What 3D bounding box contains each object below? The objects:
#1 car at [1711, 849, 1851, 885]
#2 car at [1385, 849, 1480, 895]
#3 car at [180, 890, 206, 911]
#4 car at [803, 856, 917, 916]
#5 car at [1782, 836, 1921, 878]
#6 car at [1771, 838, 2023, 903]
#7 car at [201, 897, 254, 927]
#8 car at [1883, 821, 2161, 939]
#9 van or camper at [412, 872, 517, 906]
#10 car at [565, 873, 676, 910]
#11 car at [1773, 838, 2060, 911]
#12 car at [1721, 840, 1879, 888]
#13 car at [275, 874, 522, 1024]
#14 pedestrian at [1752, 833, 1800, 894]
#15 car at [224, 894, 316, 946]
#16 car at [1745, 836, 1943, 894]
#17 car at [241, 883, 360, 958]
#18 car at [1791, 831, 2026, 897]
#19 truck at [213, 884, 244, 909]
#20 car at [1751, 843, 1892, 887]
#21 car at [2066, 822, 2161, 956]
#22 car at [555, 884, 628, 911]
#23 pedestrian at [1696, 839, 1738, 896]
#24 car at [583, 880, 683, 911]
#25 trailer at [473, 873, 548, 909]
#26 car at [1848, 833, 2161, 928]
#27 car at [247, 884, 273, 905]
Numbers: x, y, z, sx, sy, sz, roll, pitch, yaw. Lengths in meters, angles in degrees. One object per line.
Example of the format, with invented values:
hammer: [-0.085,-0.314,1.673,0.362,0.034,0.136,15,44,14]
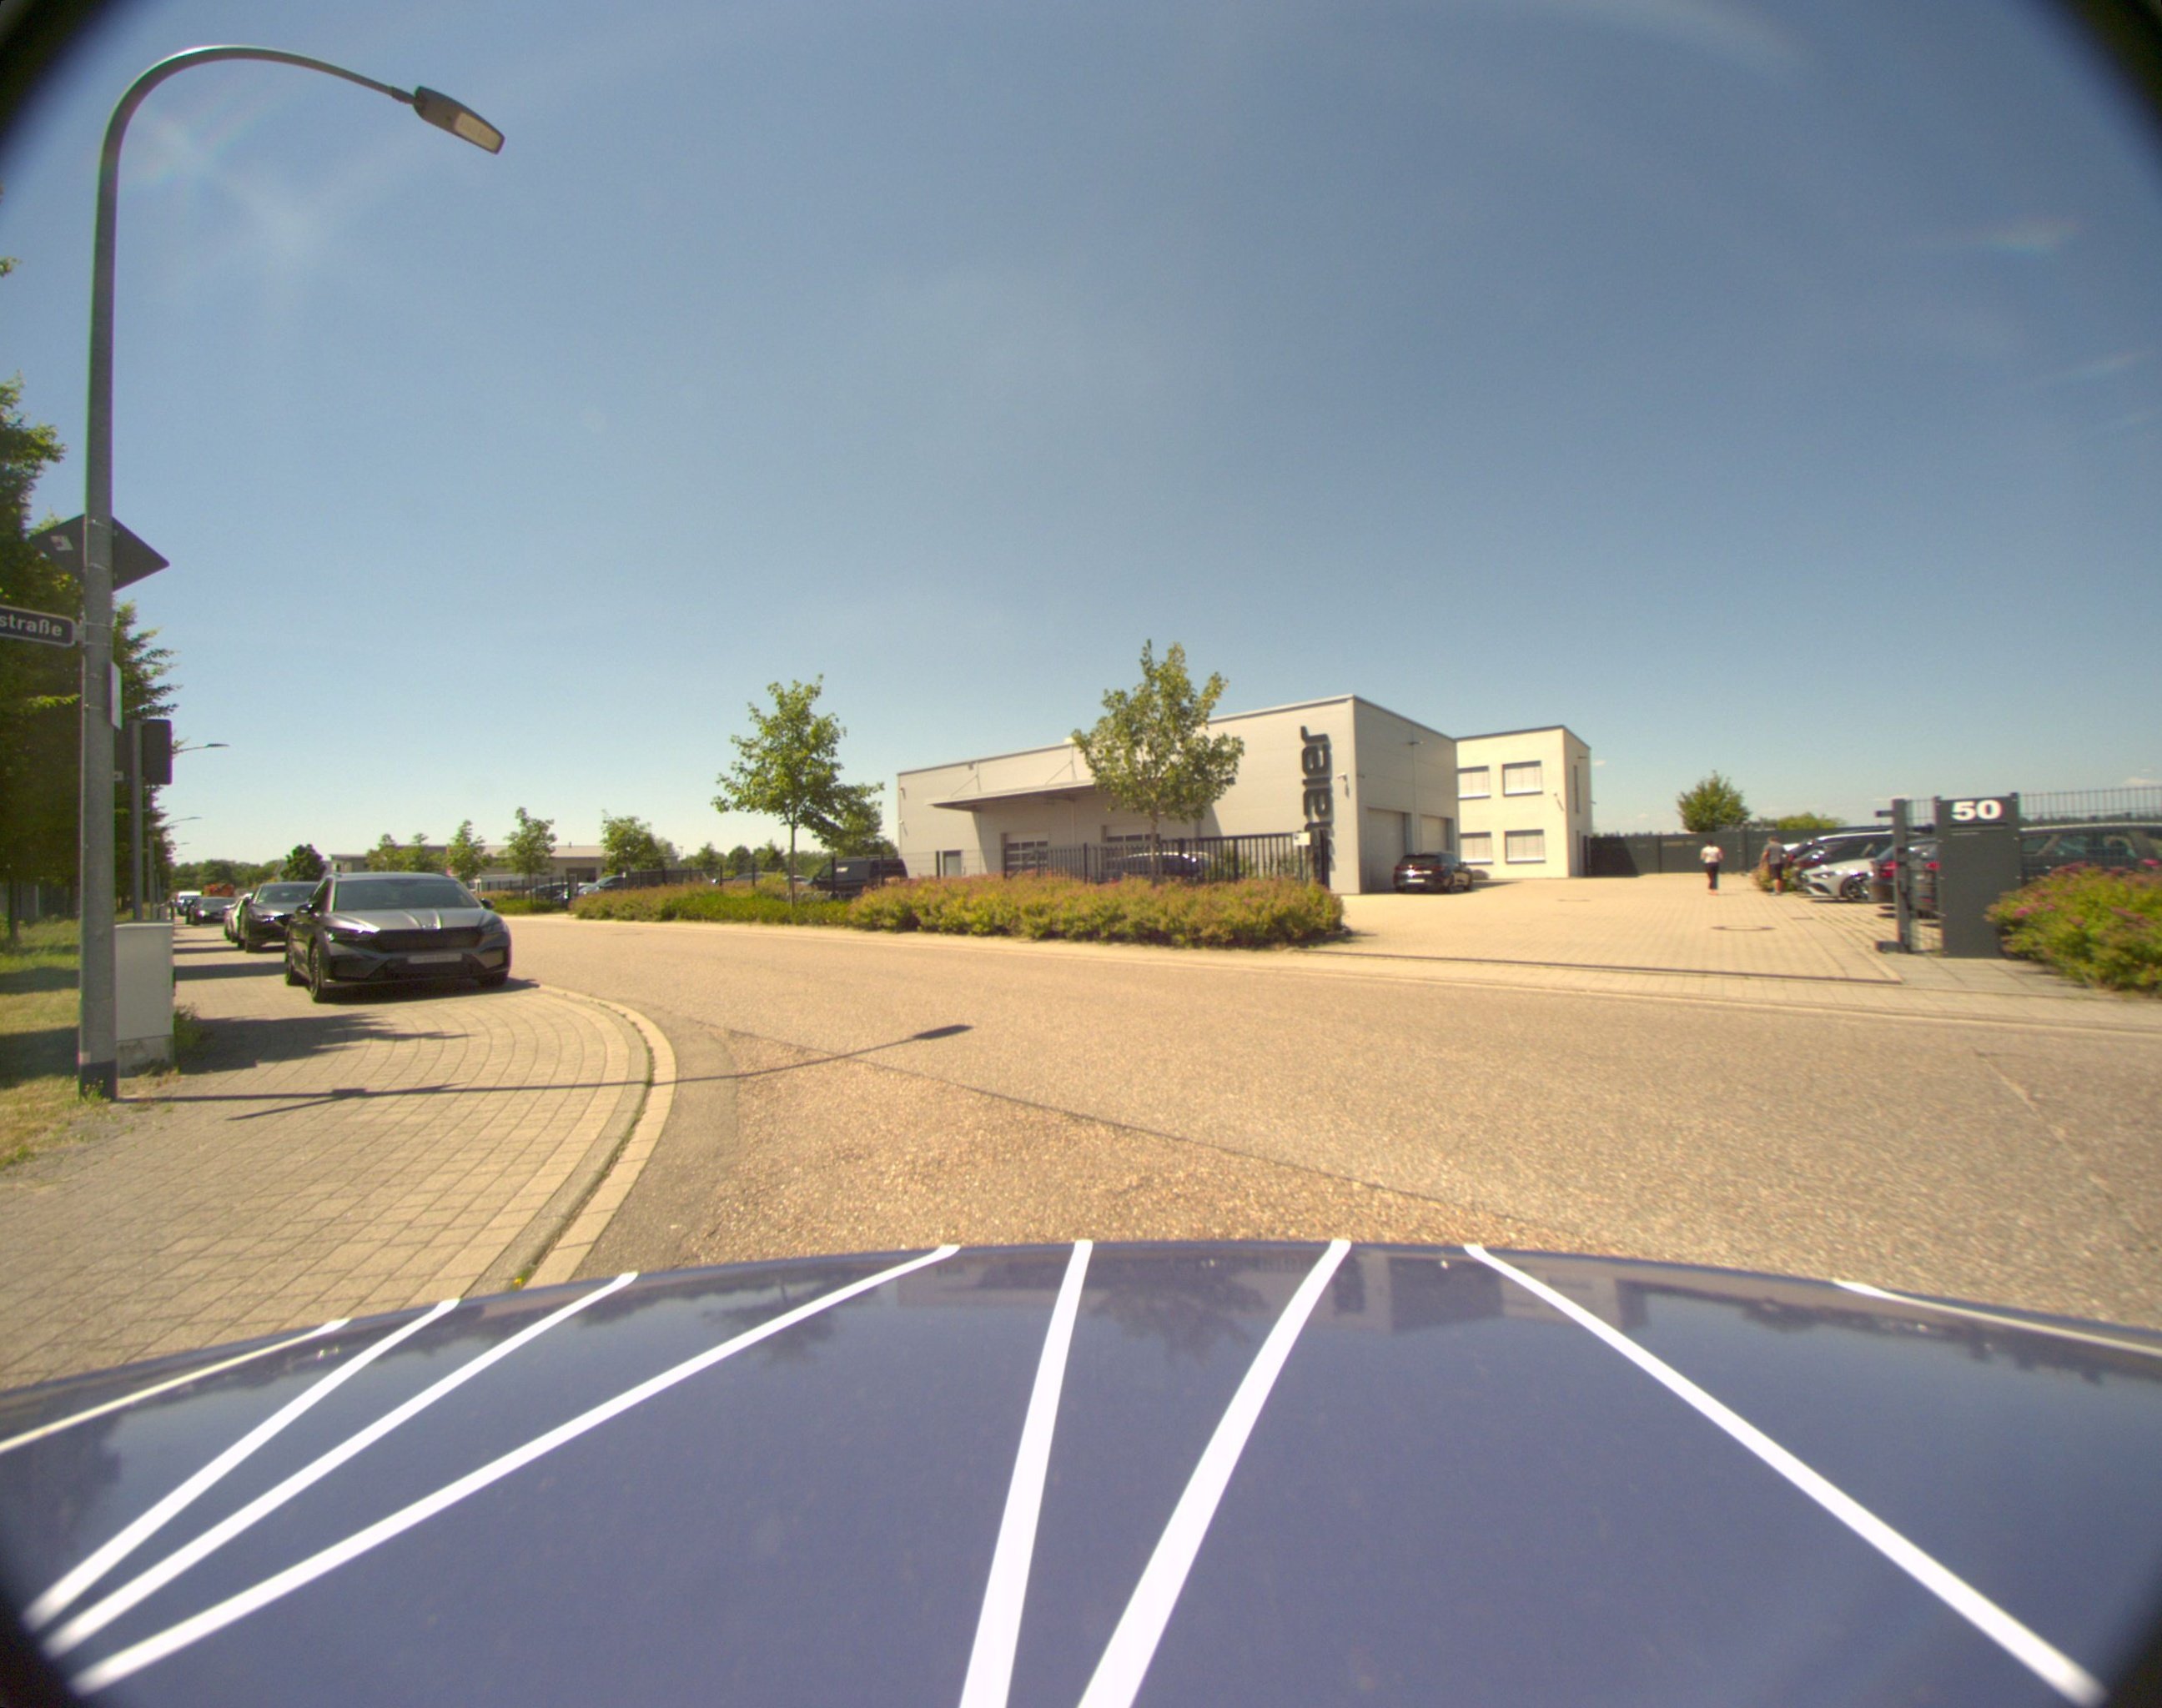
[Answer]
car: [27.736,0.525,30.284,3.989,1.302,2.004,-2,-1,41]
car: [11.988,0.589,25.797,1.793,1.411,3.878,-2,-1,42]
car: [-116.422,6.067,99.603,4.822,2.681,2.066,-3,-2,39]
car: [-8.714,1.233,29.771,4.681,2.086,2.011,-3,1,42]
car: [32.739,0.150,32.461,3.989,1.674,2.004,-2,-1,41]
car: [19.827,0.434,18.752,3.989,1.431,1.681,-3,-1,38]
car: [-46.024,3.088,40.932,4.257,1.467,1.701,-3,-3,39]
car: [14.371,0.342,10.683,3.989,1.531,1.835,-3,-1,38]
van or camper: [-54.189,3.044,66.920,2.568,2.667,6.813,-3,-2,41]
car: [-26.639,2.130,44.082,1.959,1.840,5.086,-3,-1,40]
car: [18.073,0.470,16.755,3.989,1.431,1.681,-3,-1,38]
car: [25.903,0.378,27.579,3.989,1.596,1.680,-2,0,38]
car: [-9.579,1.167,10.538,4.596,1.651,1.814,-3,-4,39]
pedestrian: [19.341,0.266,21.152,0.828,1.672,0.713,-2,0,32]
car: [-25.159,1.985,23.526,4.020,1.471,1.726,-3,-4,41]
car: [22.767,0.372,22.918,3.989,1.596,1.680,-3,-1,38]
car: [-19.432,1.584,18.864,4.351,1.652,1.767,-3,-3,41]
car: [21.930,0.307,20.401,3.989,1.596,1.680,-3,-1,38]
truck: [-127.417,6.414,113.492,10.473,3.523,2.614,-3,-2,39]
car: [30.157,0.459,31.135,3.989,1.674,2.004,-2,-1,41]
car: [13.767,0.348,8.491,2.989,1.511,1.709,-3,-1,38]
car: [-30.863,2.746,47.932,1.899,1.489,3.388,-3,-1,40]
pedestrian: [18.699,0.400,22.354,0.773,1.619,0.623,-2,0,26]
car: [-24.892,2.262,42.306,1.959,1.437,4.328,-3,-1,40]
trailer: [-42.108,2.713,56.181,1.722,2.346,4.007,-2,1,37]
car: [15.878,0.434,12.748,3.989,1.431,1.811,-3,-1,38]
car: [-135.072,6.648,124.938,6.205,3.211,2.608,-3,-2,40]
